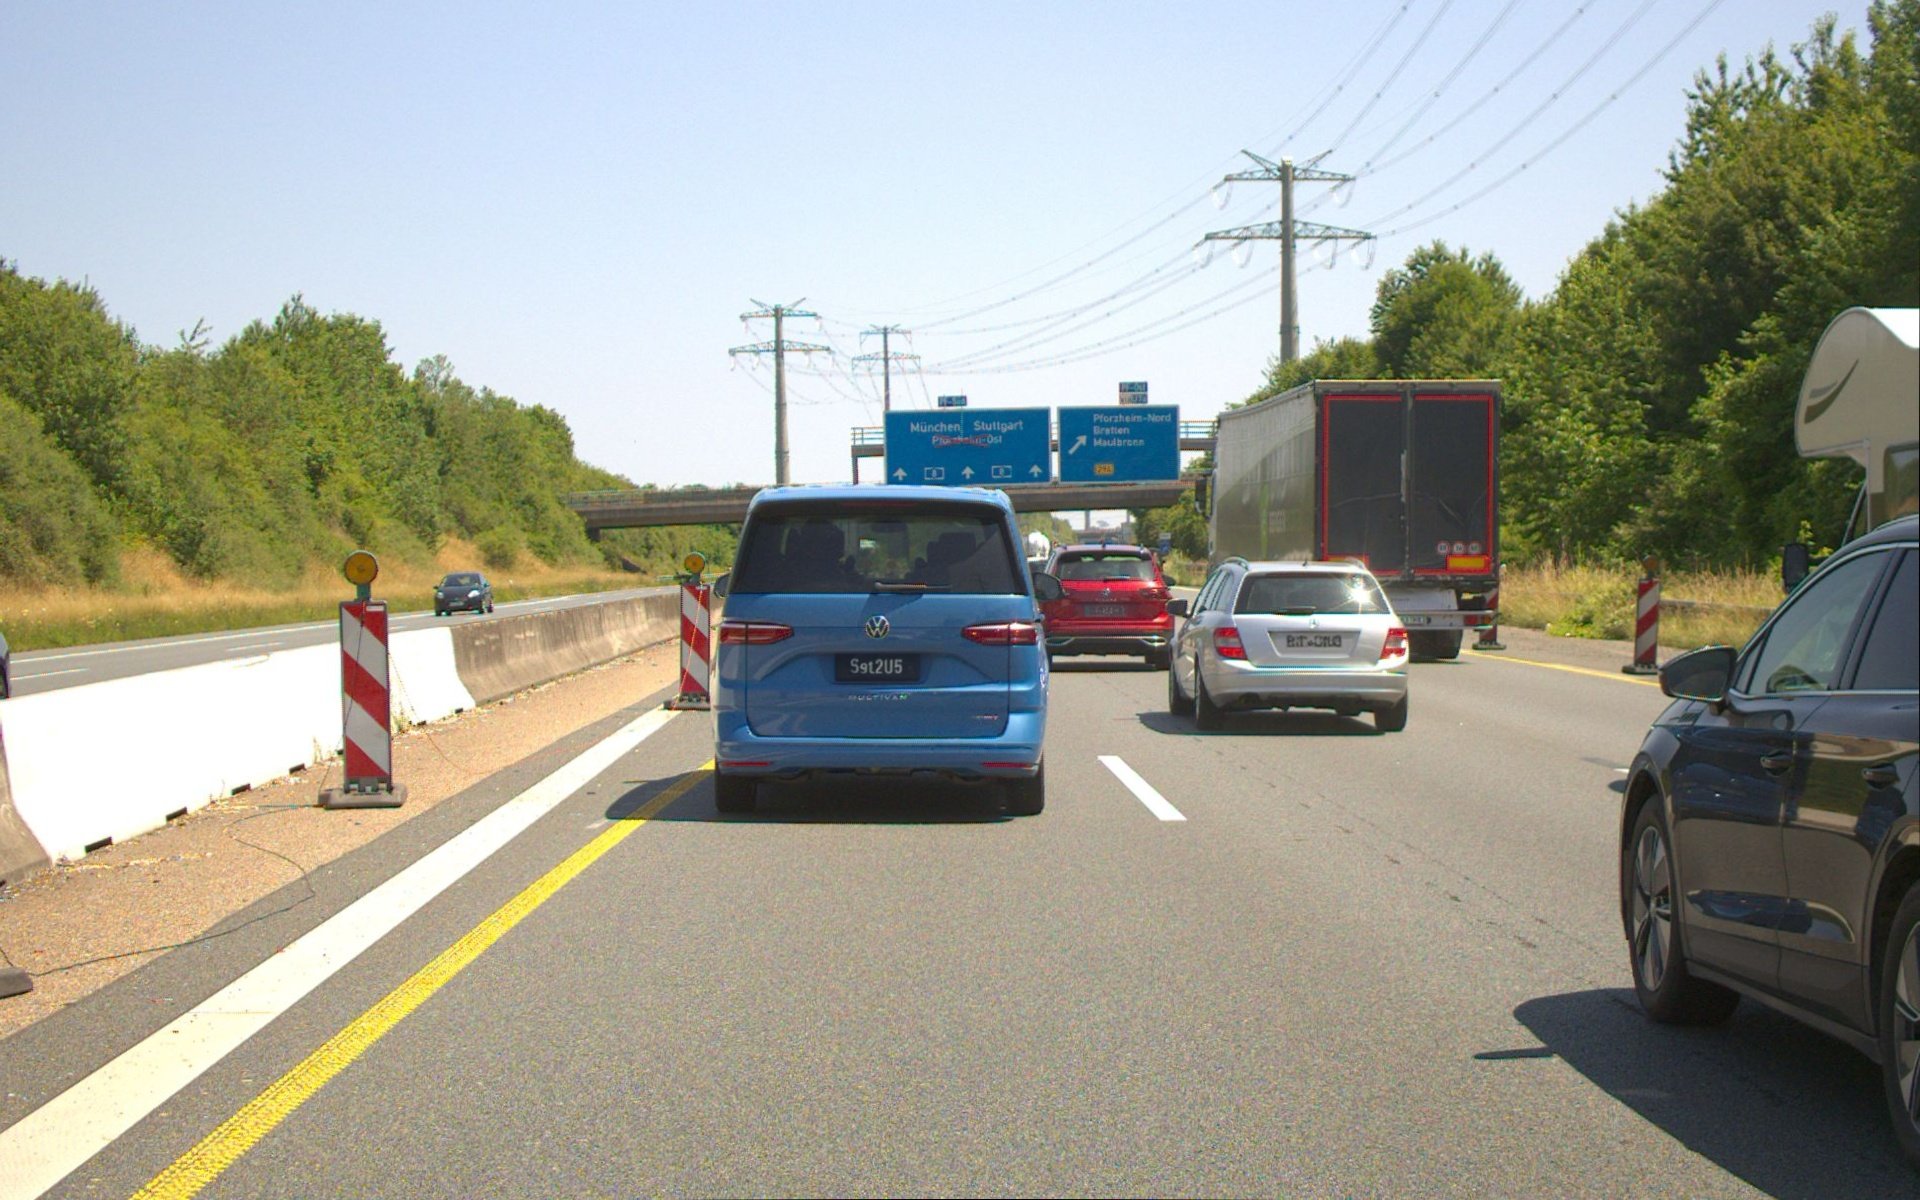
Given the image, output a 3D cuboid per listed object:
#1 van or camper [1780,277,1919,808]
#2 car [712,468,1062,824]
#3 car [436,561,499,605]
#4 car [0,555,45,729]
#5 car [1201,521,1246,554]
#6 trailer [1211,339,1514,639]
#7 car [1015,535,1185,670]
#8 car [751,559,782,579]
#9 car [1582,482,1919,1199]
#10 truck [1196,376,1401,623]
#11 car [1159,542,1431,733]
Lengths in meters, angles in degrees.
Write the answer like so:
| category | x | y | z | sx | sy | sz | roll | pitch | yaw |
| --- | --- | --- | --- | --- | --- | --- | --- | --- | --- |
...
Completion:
| category | x | y | z | sx | sy | sz | roll | pitch | yaw |
| --- | --- | --- | --- | --- | --- | --- | --- | --- | --- |
| van or camper | 6.668 | -0.306 | 18.851 | 2.369 | 3.033 | 7.633 | 1 | 1 | -1 |
| car | -0.472 | 0.225 | 20.867 | 1.874 | 1.905 | 4.360 | 1 | 1 | -2 |
| car | -17.095 | -0.609 | 119.414 | 1.708 | 1.459 | 3.850 | -2 | 1 | -2 |
| car | -9.191 | 0.398 | 28.792 | 1.862 | 1.485 | 4.493 | -1 | 1 | -1 |
| car | 13.865 | -3.264 | 180.991 | 1.874 | 1.665 | 4.360 | 1 | 1 | -2 |
| trailer | 5.951 | -1.593 | 53.336 | 2.783 | 4.033 | 13.113 | 1 | 1 | -1 |
| car | 1.792 | 0.001 | 45.308 | 1.874 | 1.665 | 4.360 | 1 | 1 | -2 |
| car | -14.285 | -2.311 | 253.881 | 1.993 | 1.393 | 4.000 | -2 | 1 | 1 |
| car | 3.021 | 0.550 | 9.271 | 1.700 | 1.649 | 4.430 | 1 | 1 | -2 |
| truck | 5.772 | -1.690 | 59.530 | 2.733 | 4.033 | 5.794 | 1 | 1 | -2 |
| car | 2.825 | 0.278 | 29.892 | 1.770 | 1.512 | 4.360 | 1 | 1 | -2 |
